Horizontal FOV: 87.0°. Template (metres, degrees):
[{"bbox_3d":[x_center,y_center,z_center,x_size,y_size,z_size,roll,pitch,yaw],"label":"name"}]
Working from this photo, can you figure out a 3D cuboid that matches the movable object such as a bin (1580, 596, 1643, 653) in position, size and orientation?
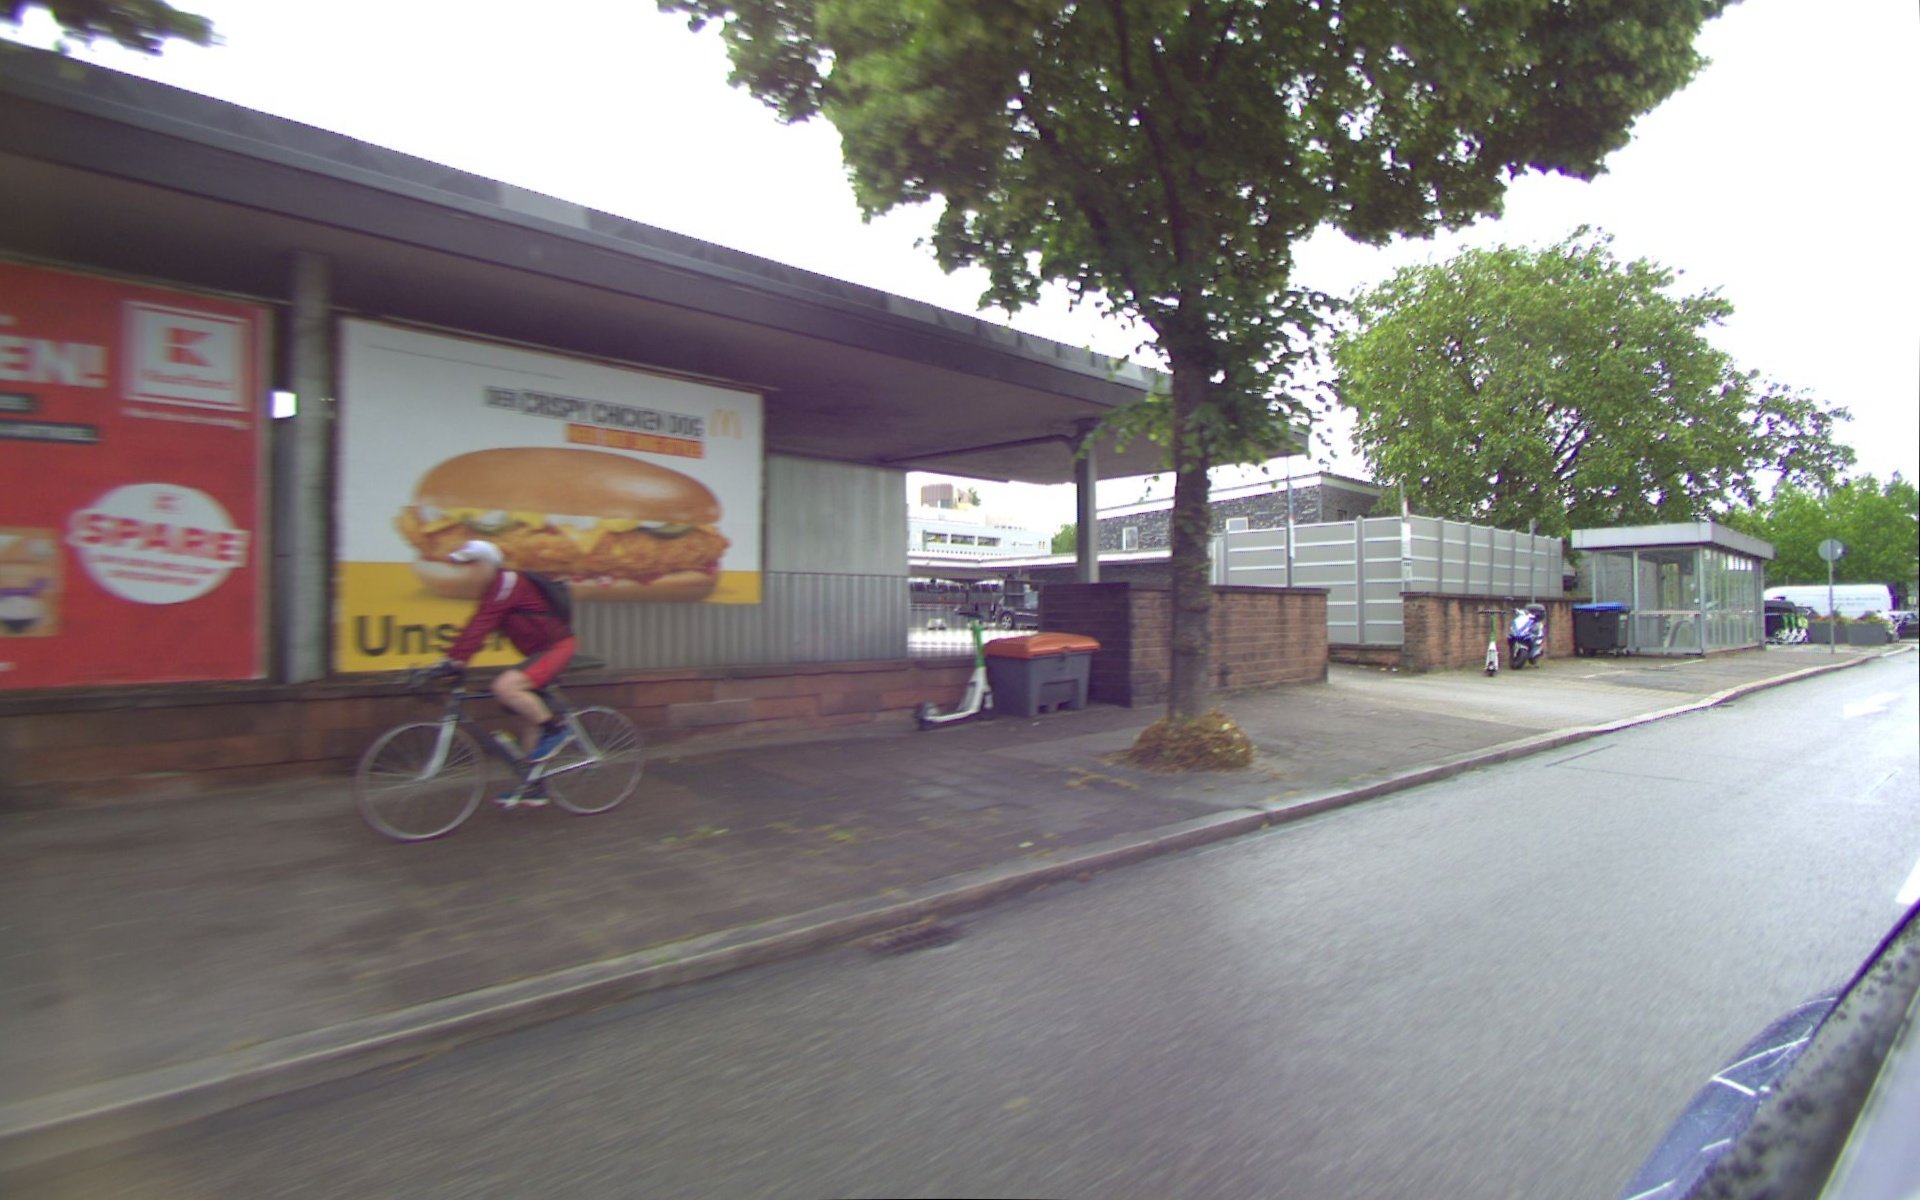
[{"bbox_3d":[15.968,0.574,24.798,1.295,1.355,1.035,0,0,-44],"label":"movable object such as a bin"}]

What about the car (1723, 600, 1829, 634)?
[{"bbox_3d":[38.947,0.771,48.391,3.549,1.544,1.749,1,0,23],"label":"car"}]

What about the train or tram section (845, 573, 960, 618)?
[{"bbox_3d":[-4.755,-0.385,86.007,2.740,3.648,10.755,0,0,44],"label":"train or tram section"}]

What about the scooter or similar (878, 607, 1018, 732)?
[{"bbox_3d":[-0.098,0.666,10.343,1.520,1.167,0.493,0,0,-45],"label":"scooter or similar"}]

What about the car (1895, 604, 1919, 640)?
[{"bbox_3d":[42.500,0.958,44.278,3.757,1.493,1.871,0,0,-40],"label":"car"}]

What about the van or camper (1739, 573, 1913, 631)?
[{"bbox_3d":[45.082,0.054,52.886,6.445,2.906,2.266,1,0,19],"label":"van or camper"}]

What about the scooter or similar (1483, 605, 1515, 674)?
[{"bbox_3d":[9.745,0.680,18.299,0.490,1.167,1.698,0,0,28],"label":"scooter or similar"}]

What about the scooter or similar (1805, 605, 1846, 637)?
[{"bbox_3d":[32.249,0.770,37.707,1.237,1.170,0.414,-1,-2,-10],"label":"scooter or similar"}]

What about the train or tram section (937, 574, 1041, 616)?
[{"bbox_3d":[2.870,-0.453,94.023,2.768,3.643,11.320,0,0,44],"label":"train or tram section"}]

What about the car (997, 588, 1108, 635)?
[{"bbox_3d":[3.910,0.445,43.529,2.071,1.898,4.695,1,0,-38],"label":"car"}]

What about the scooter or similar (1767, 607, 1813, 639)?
[{"bbox_3d":[31.368,0.859,38.234,1.638,1.170,1.066,-1,0,-41],"label":"scooter or similar"}]

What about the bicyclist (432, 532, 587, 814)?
[{"bbox_3d":[-2.669,0.393,6.001,0.683,1.557,0.534,0,1,-44],"label":"bicyclist"}]

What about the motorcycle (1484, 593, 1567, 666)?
[{"bbox_3d":[11.165,0.551,19.945,2.416,1.365,0.792,0,0,-44],"label":"motorcycle"}]

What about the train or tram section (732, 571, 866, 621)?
[{"bbox_3d":[-12.280,-0.345,78.417,2.741,3.648,10.753,0,0,45],"label":"train or tram section"}]

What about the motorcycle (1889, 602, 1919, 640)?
[{"bbox_3d":[35.570,0.769,38.128,2.072,1.369,0.644,0,0,-41],"label":"motorcycle"}]

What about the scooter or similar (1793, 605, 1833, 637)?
[{"bbox_3d":[32.159,0.806,38.144,1.237,1.170,0.414,-1,-2,-10],"label":"scooter or similar"}]

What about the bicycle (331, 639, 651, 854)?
[{"bbox_3d":[-2.705,0.788,5.970,1.650,1.029,0.446,0,2,-44],"label":"bicycle"}]

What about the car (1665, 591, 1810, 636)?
[{"bbox_3d":[34.498,0.561,45.051,4.635,1.898,2.098,1,0,17],"label":"car"}]
